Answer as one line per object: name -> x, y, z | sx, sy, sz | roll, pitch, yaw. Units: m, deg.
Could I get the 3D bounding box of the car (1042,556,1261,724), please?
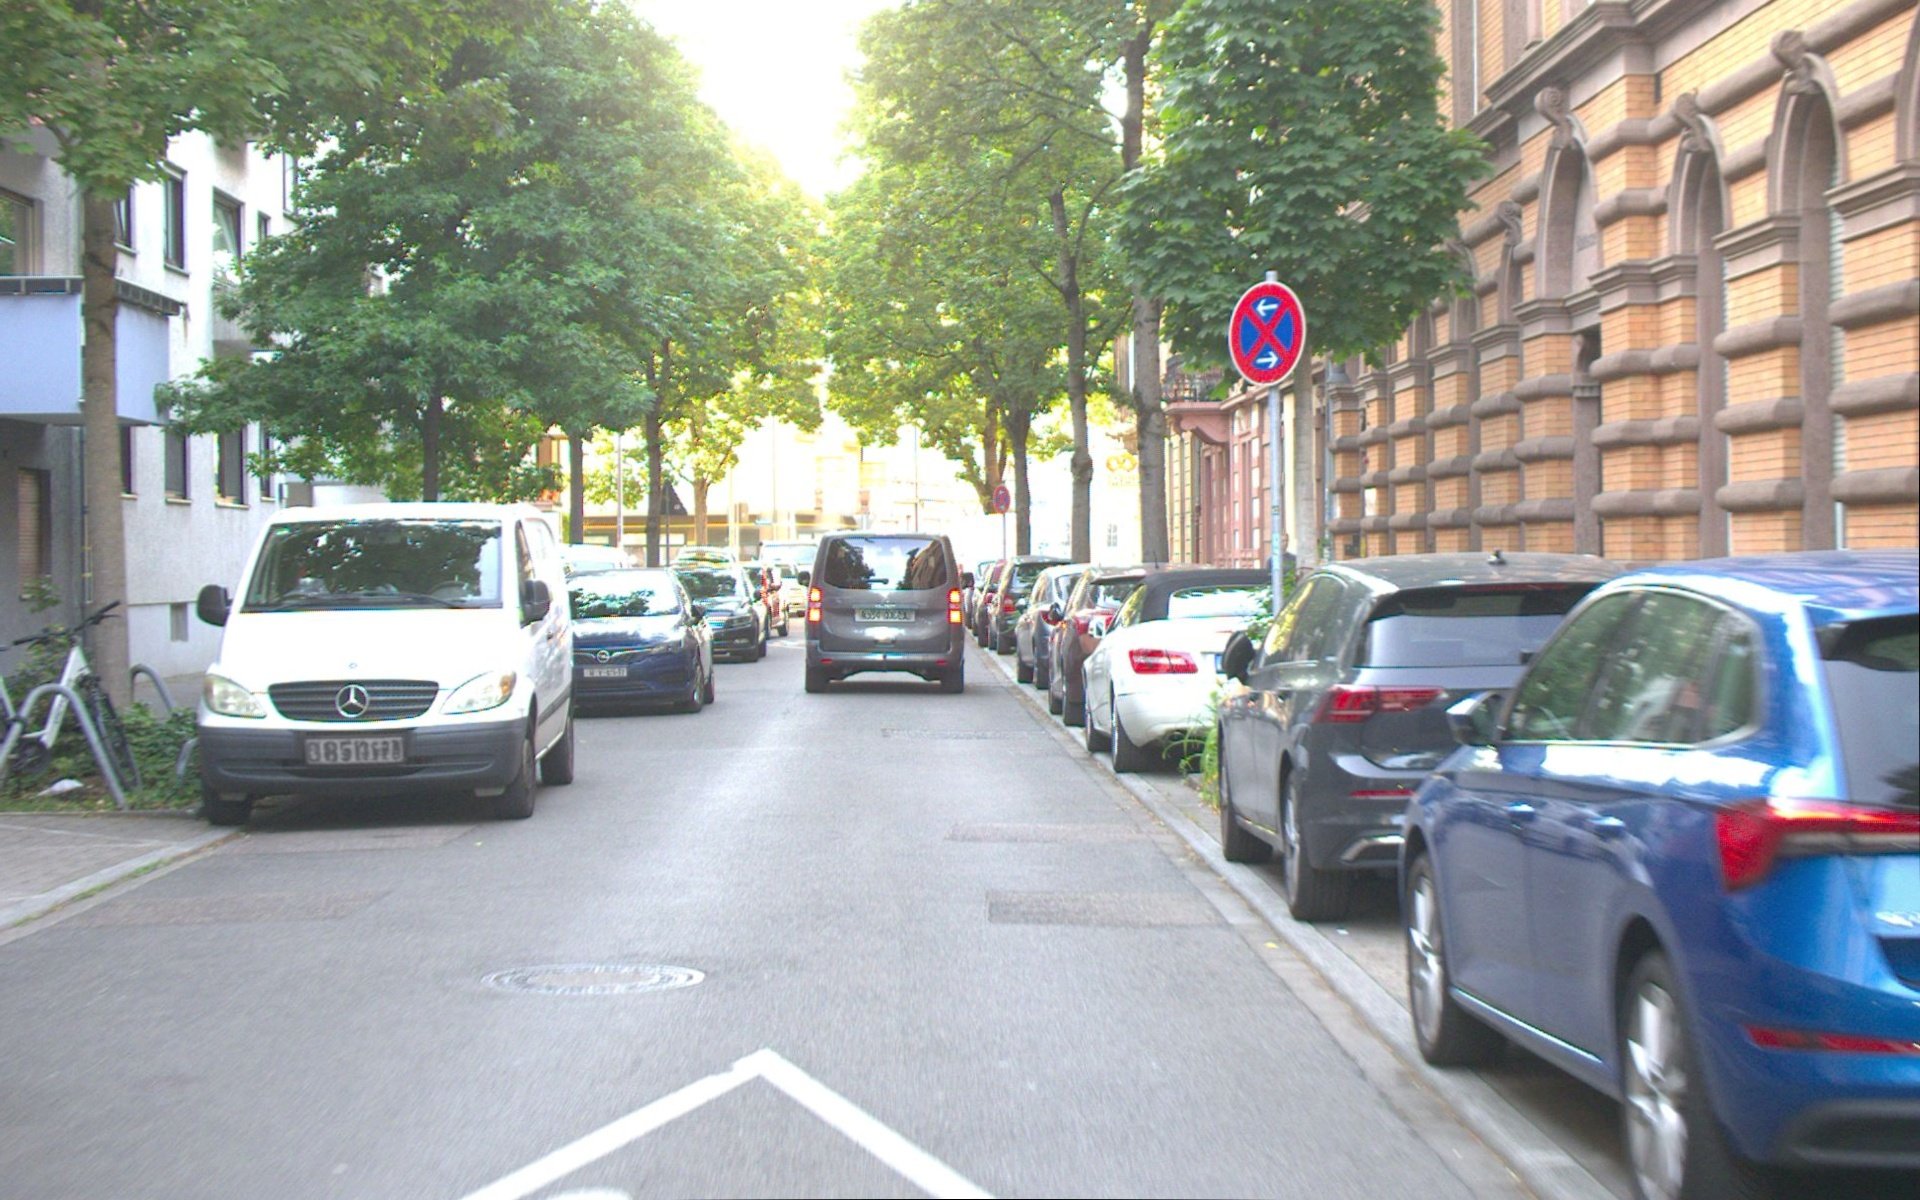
car -> 1.745, 0.337, 32.473 | 1.722, 1.445, 4.215 | -1, 0, -1

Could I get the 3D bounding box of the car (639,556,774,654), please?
car -> -3.926, 0.049, 53.845 | 1.846, 1.446, 4.503 | 0, 1, -1

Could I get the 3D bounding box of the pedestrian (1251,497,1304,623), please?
pedestrian -> 4.166, -0.528, 45.100 | 0.627, 1.643, 0.532 | 0, 1, 0

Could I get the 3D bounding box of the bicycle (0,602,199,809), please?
bicycle -> -5.487, 0.612, 20.410 | 0.698, 1.159, 1.818 | 0, 1, 41

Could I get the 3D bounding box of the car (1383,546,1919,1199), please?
car -> 2.186, 0.614, 8.130 | 1.627, 1.461, 4.246 | -1, 1, -3

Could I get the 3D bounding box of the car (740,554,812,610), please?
car -> -4.705, -0.477, 88.217 | 1.741, 1.399, 3.375 | -1, 1, -1

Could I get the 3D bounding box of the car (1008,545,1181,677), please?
car -> 1.609, 0.099, 42.373 | 1.697, 1.477, 4.001 | -2, 1, -3

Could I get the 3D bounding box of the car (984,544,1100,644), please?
car -> 1.317, -0.126, 56.382 | 1.611, 1.553, 3.767 | -1, 1, -3

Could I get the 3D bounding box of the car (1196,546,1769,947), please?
car -> 2.081, 0.509, 14.831 | 1.711, 1.472, 4.193 | 0, 1, -2

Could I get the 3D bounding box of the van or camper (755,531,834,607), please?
van or camper -> -4.470, -0.850, 93.318 | 1.862, 1.976, 4.271 | -1, 1, 0

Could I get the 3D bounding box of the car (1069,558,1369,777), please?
car -> 1.795, 0.418, 25.137 | 1.693, 1.396, 4.646 | -1, 1, -2

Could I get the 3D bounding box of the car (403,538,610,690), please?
car -> -5.526, 0.124, 42.440 | 2.034, 1.666, 4.649 | 3, 1, -2

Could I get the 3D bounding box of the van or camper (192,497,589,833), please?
van or camper -> -3.413, 0.316, 21.437 | 1.876, 1.836, 4.753 | -1, 1, -3

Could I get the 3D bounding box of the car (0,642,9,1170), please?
car -> -2.975, 0.612, 6.180 | 1.663, 1.558, 4.001 | -1, 1, -4

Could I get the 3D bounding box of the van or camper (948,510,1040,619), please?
van or camper -> 0.803, -0.885, 84.381 | 1.993, 2.590, 5.425 | 0, 1, -2

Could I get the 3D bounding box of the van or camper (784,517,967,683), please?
van or camper -> -0.965, -0.030, 41.368 | 2.035, 1.891, 4.271 | 0, 1, 1

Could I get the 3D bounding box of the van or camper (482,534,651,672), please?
van or camper -> -5.433, -0.002, 47.908 | 1.931, 1.754, 4.466 | 3, 1, -2

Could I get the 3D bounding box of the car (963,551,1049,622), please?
car -> 0.955, -0.301, 73.406 | 1.750, 1.466, 3.776 | 0, 1, 0

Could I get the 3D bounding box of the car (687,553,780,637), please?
car -> -4.297, -0.113, 65.584 | 1.630, 1.425, 3.543 | -1, 3, -2

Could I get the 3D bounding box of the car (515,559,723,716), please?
car -> -3.463, 0.342, 35.634 | 1.830, 1.512, 4.516 | 0, 0, -2

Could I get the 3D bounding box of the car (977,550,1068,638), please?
car -> 1.118, -0.129, 60.447 | 1.551, 1.491, 3.610 | 0, 1, 2
